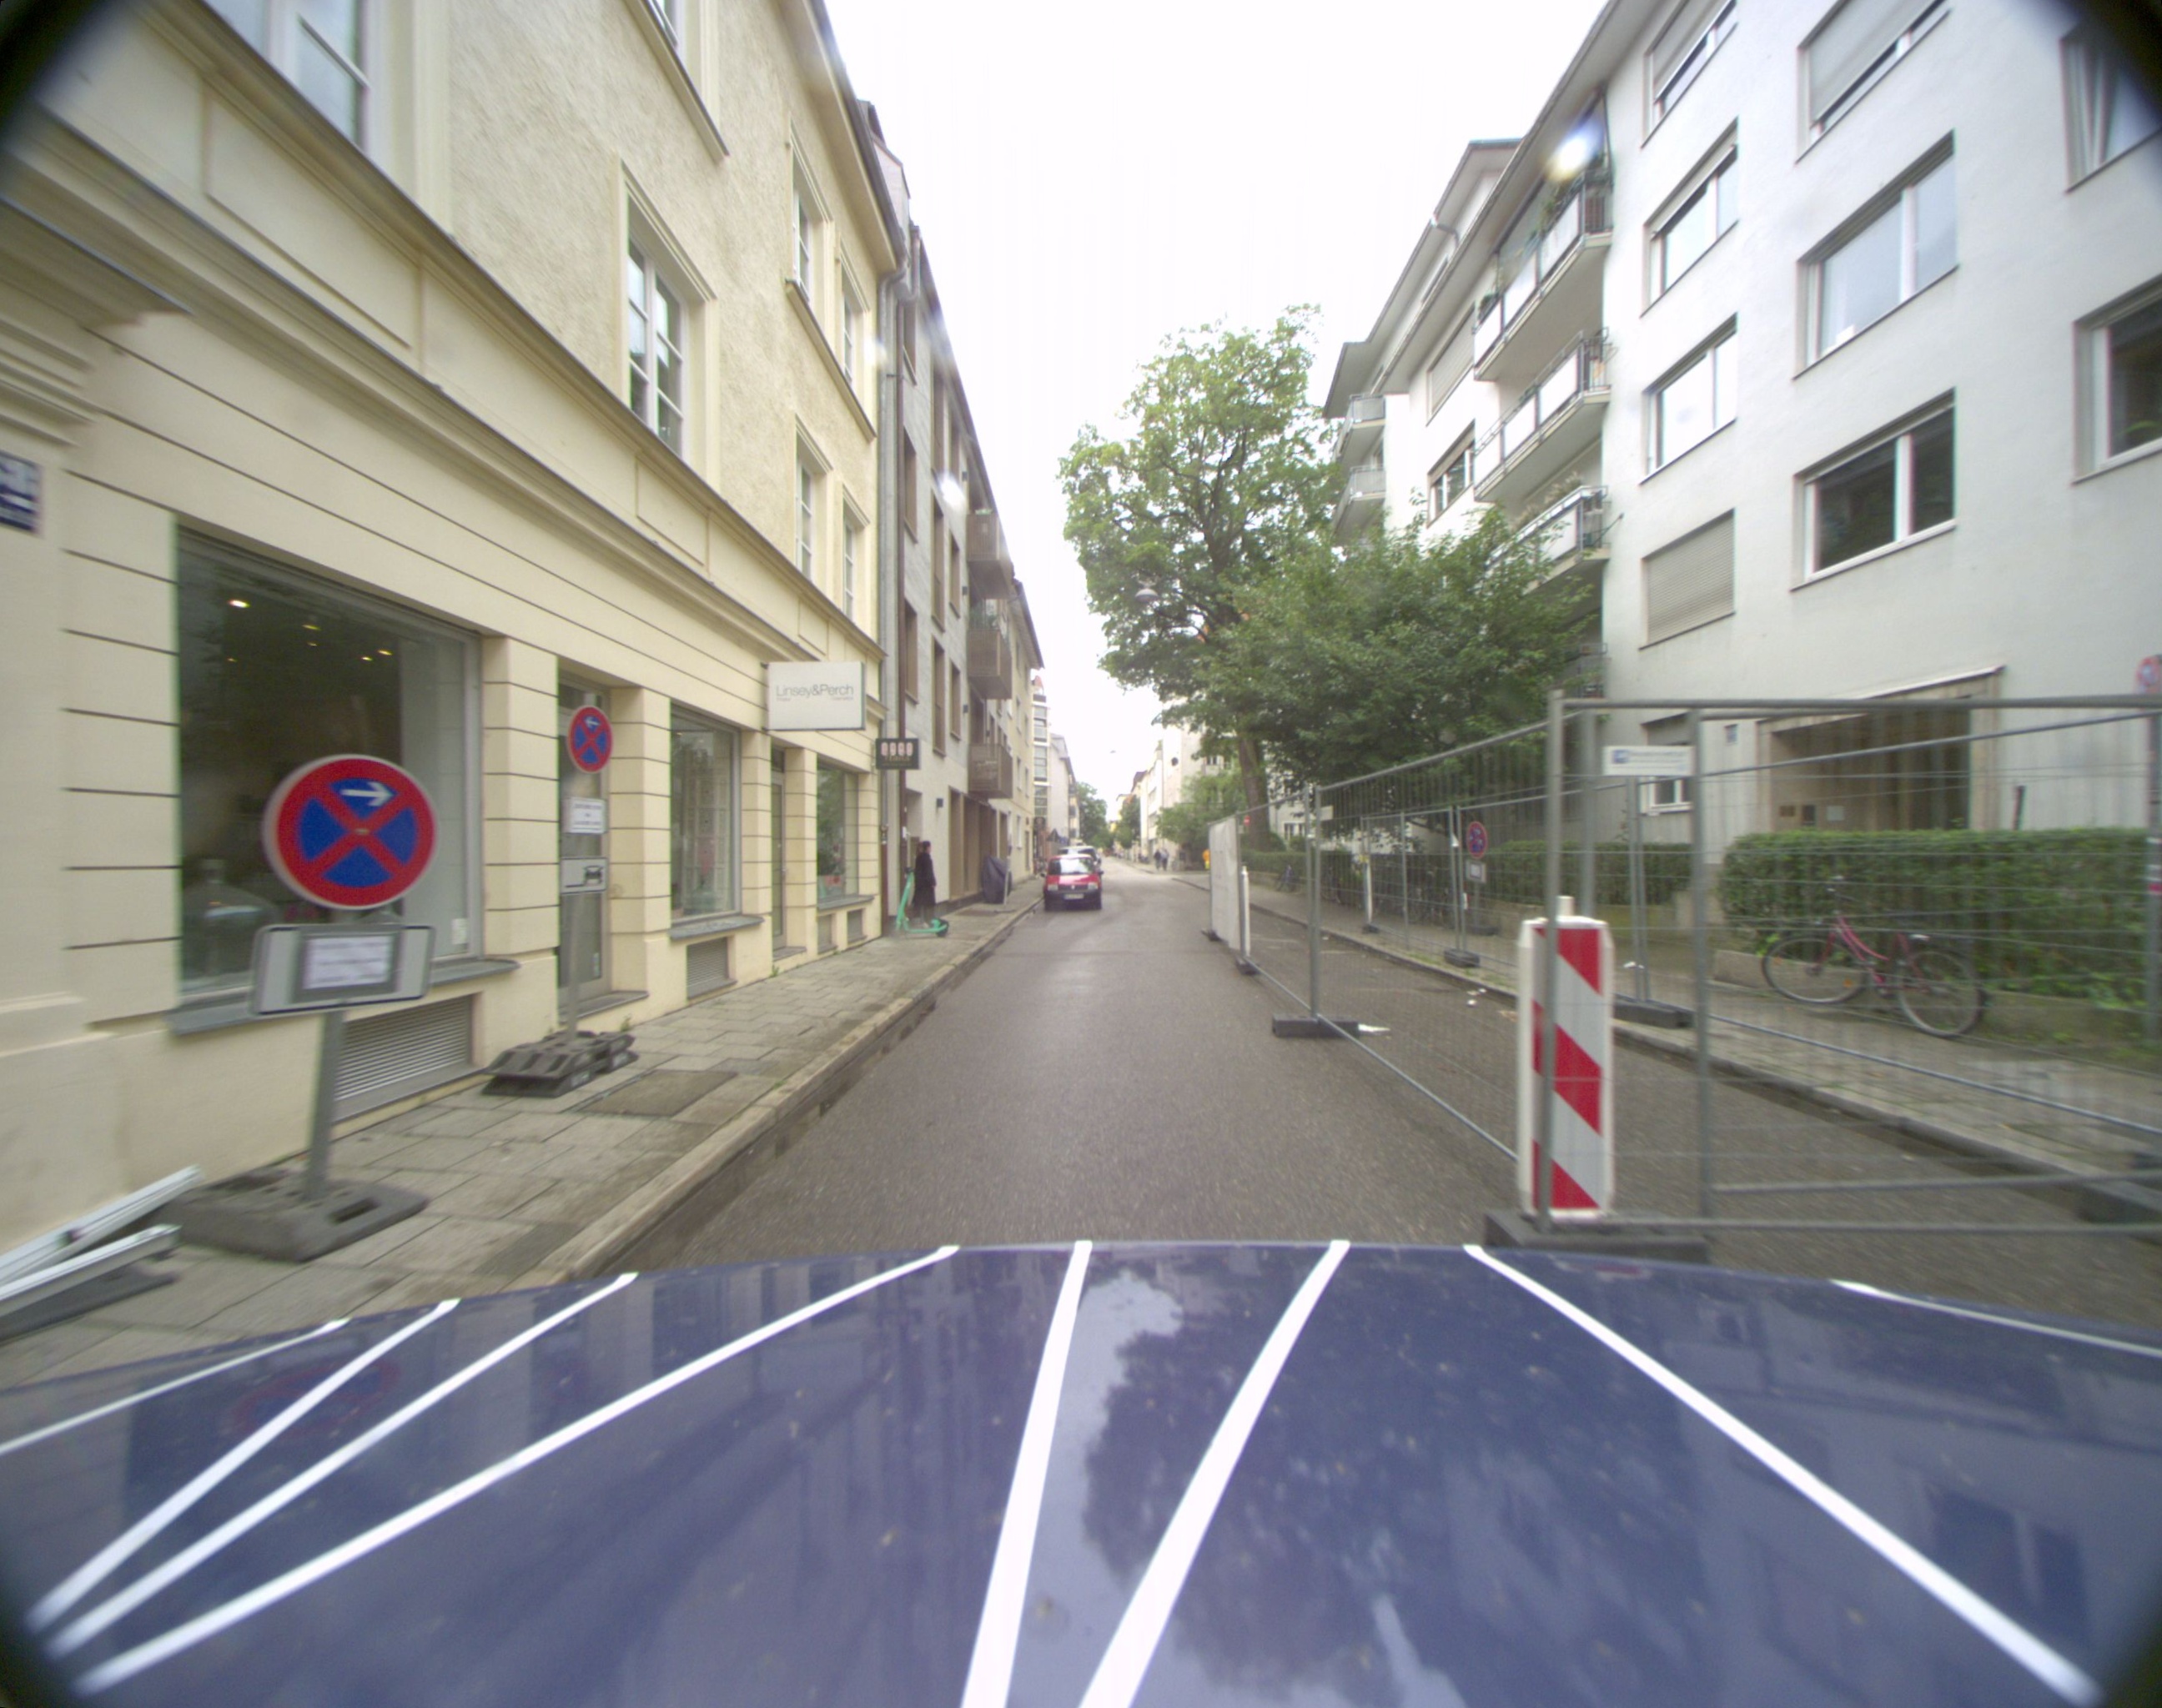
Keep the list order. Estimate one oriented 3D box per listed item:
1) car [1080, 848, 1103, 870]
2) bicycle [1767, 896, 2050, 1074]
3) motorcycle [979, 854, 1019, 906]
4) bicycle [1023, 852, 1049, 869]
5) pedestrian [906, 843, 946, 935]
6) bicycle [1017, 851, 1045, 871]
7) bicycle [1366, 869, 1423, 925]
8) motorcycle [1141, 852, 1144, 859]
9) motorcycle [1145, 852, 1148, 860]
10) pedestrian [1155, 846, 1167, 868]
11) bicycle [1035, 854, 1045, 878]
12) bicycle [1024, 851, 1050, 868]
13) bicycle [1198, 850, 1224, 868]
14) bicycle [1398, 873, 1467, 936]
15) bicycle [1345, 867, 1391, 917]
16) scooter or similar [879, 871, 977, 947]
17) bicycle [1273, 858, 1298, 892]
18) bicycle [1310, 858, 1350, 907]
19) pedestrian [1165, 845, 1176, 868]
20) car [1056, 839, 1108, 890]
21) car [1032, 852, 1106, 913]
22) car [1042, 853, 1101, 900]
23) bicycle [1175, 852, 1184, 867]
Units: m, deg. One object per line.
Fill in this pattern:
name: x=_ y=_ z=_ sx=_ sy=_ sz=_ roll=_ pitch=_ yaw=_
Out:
car: x=0.787 y=0.370 z=60.031 sx=1.725 sy=1.606 sz=4.454 roll=-2 pitch=0 yaw=0
bicycle: x=6.215 y=0.916 z=5.840 sx=0.378 sy=1.057 sz=1.597 roll=-7 pitch=0 yaw=2
motorcycle: x=-2.392 y=0.737 z=22.404 sx=0.807 sy=1.415 sz=1.932 roll=5 pitch=1 yaw=2
bicycle: x=-3.187 y=0.465 z=54.282 sx=1.752 sy=1.180 sz=0.443 roll=2 pitch=1 yaw=7
pedestrian: x=-2.912 y=0.637 z=14.241 sx=0.547 sy=1.676 sz=0.659 roll=1 pitch=1 yaw=-27
bicycle: x=-3.524 y=0.493 z=53.577 sx=1.807 sy=1.315 sz=0.586 roll=-1 pitch=2 yaw=-24
bicycle: x=6.415 y=0.853 z=15.645 sx=0.444 sy=0.973 sz=1.853 roll=-4 pitch=1 yaw=3
motorcycle: x=8.594 y=0.227 z=106.401 sx=0.324 sy=0.968 sz=1.961 roll=-2 pitch=0 yaw=2
motorcycle: x=8.340 y=0.230 z=96.807 sx=0.324 sy=0.968 sz=1.961 roll=-2 pitch=0 yaw=2
pedestrian: x=6.297 y=0.226 z=59.753 sx=0.721 sy=1.718 sz=0.841 roll=-5 pitch=1 yaw=2
bicycle: x=-2.272 y=0.646 z=42.177 sx=0.411 sy=1.207 sz=1.818 roll=2 pitch=2 yaw=2
bicycle: x=-3.284 y=0.424 z=56.394 sx=1.872 sy=1.222 sz=0.594 roll=1 pitch=2 yaw=31
bicycle: x=9.443 y=0.342 z=55.158 sx=1.811 sy=1.253 sz=0.432 roll=-1 pitch=1 yaw=0
bicycle: x=6.340 y=0.880 z=13.781 sx=0.444 sy=0.973 sz=1.816 roll=-4 pitch=1 yaw=3
bicycle: x=6.478 y=0.835 z=17.205 sx=0.437 sy=0.973 sz=1.698 roll=-4 pitch=1 yaw=3
scooter or similar: x=-2.561 y=0.903 z=12.880 sx=0.493 sy=1.177 sz=1.611 roll=3 pitch=1 yaw=42
bicycle: x=6.751 y=0.678 z=25.122 sx=0.347 sy=1.065 sz=1.780 roll=-4 pitch=0 yaw=2
bicycle: x=6.420 y=0.707 z=19.671 sx=0.489 sy=1.145 sz=1.698 roll=-4 pitch=1 yaw=3
pedestrian: x=7.023 y=0.184 z=59.731 sx=0.695 sy=1.718 sz=0.841 roll=-5 pitch=1 yaw=2
car: x=-0.001 y=0.422 z=33.185 sx=1.995 sy=1.965 sz=4.884 roll=-2 pitch=0 yaw=-1
car: x=-0.256 y=0.755 z=22.058 sx=1.776 sy=1.515 sz=4.067 roll=-2 pitch=0 yaw=3
car: x=-0.248 y=0.752 z=27.301 sx=1.772 sy=1.453 sz=4.380 roll=-2 pitch=0 yaw=3
bicycle: x=7.666 y=0.419 z=59.124 sx=0.432 sy=1.089 sz=1.703 roll=-2 pitch=1 yaw=0
